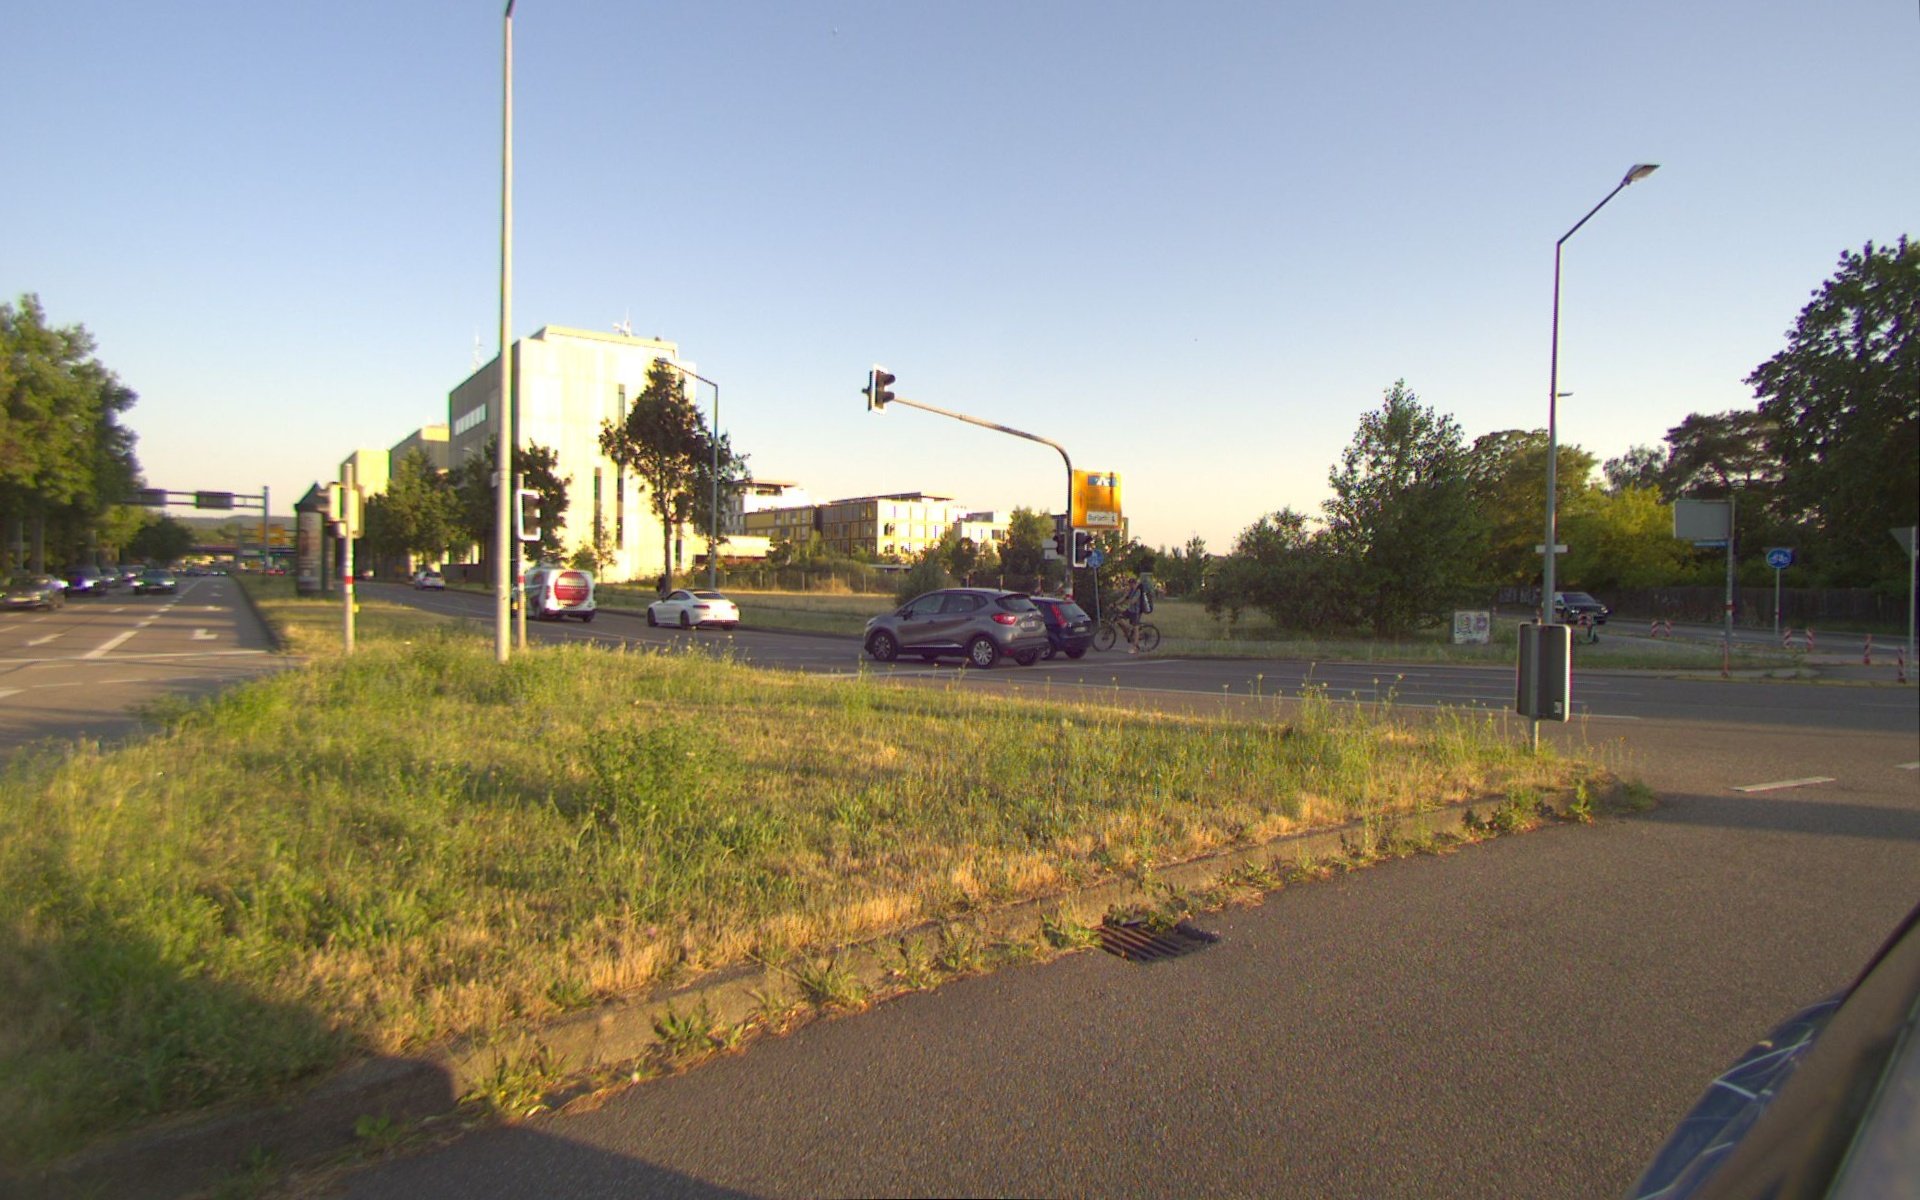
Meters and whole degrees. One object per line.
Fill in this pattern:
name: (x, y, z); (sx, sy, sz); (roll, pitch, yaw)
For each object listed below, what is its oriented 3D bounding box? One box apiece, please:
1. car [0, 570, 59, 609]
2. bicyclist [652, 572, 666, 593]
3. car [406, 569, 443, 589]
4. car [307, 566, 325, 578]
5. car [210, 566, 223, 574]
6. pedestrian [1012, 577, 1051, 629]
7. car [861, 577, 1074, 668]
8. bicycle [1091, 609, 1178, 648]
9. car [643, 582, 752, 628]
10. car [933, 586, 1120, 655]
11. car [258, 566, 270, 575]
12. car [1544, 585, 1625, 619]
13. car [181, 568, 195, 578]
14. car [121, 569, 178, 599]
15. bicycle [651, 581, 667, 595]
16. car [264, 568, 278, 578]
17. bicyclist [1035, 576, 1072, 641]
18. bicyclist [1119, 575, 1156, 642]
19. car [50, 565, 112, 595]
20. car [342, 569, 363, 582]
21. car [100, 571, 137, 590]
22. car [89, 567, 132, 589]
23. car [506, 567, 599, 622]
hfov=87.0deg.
car: (-37.762, -0.444, 41.021); (1.854, 1.482, 4.663); (0, 1, -42)
bicyclist: (-18.539, -1.062, 62.292); (0.606, 1.272, 0.735); (0, 1, -34)
car: (-42.312, -1.666, 79.902); (1.962, 1.528, 5.186); (0, 1, -35)
car: (-85.902, -3.705, 135.109); (1.961, 1.616, 4.003); (0, 1, -32)
car: (-144.579, -5.769, 196.824); (1.963, 1.524, 4.771); (0, 1, -36)
pedestrian: (2.286, 0.093, 32.389); (0.981, 1.610, 0.919); (1, 1, 25)
car: (0.109, 0.390, 20.732); (3.977, 1.649, 1.974); (2, 1, 37)
bicycle: (4.530, 0.738, 26.239); (2.100, 0.975, 0.711); (1, 1, -15)
car: (-9.196, 0.126, 35.233); (1.964, 1.425, 4.521); (0, 1, -39)
car: (1.541, 0.429, 24.432); (4.181, 1.445, 1.970); (2, 1, 41)
car: (-143.623, -6.089, 208.902); (1.962, 1.805, 4.001); (0, 1, -35)
car: (32.286, 0.059, 52.500); (1.966, 1.617, 4.305); (1, 1, 8)
car: (-130.294, -4.553, 170.772); (1.881, 1.603, 4.177); (0, 1, -38)
car: (-47.079, -0.955, 58.762); (4.472, 1.599, 1.968); (2, 0, 44)
bicycle: (-18.562, -0.757, 62.318); (0.487, 0.837, 1.515); (0, 1, -35)
car: (-118.311, -4.624, 173.752); (1.962, 1.805, 4.001); (0, 1, -35)
bicyclist: (2.516, 0.214, 27.325); (0.675, 1.711, 0.726); (0, 1, -29)
bicyclist: (4.602, 0.215, 26.260); (0.674, 1.711, 0.727); (1, 1, -13)
car: (-48.081, -1.117, 55.426); (1.961, 1.593, 4.418); (0, 1, -33)
car: (-74.199, -3.007, 123.599); (1.962, 1.593, 4.001); (0, 1, -35)
car: (-65.282, -1.549, 78.541); (1.832, 1.407, 4.163); (0, 1, -35)
car: (-57.015, -1.503, 67.982); (1.832, 1.407, 4.163); (0, 1, -35)
car: (-15.531, -0.260, 38.441); (2.030, 1.971, 4.958); (0, 1, -38)
